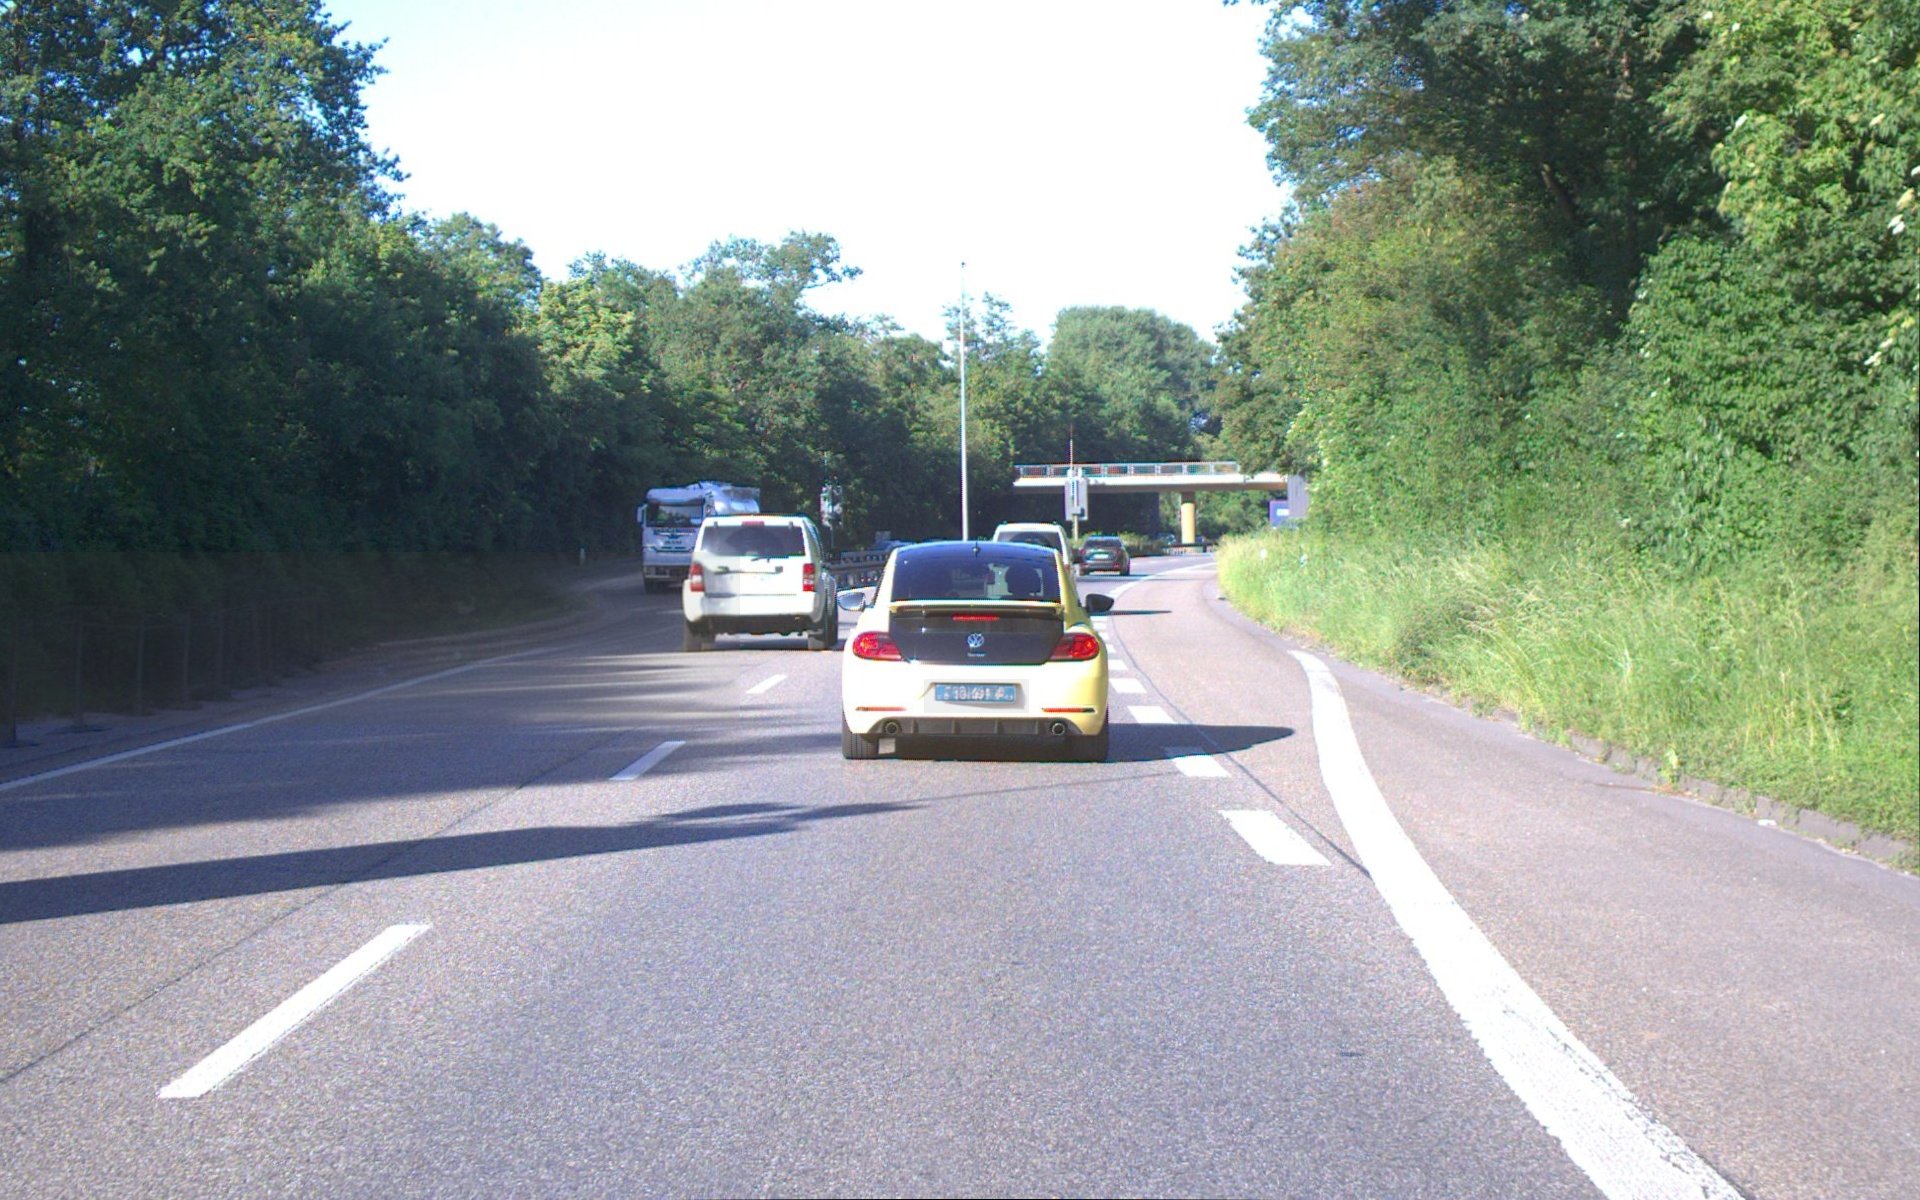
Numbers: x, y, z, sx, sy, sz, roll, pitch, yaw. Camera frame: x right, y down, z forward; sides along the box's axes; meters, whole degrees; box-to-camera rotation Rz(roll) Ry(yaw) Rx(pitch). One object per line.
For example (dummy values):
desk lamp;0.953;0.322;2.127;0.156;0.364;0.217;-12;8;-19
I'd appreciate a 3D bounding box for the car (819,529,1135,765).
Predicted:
car;0.042;0.265;23.820;1.939;1.503;3.423;0;1;-4

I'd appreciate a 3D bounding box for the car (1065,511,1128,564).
car;5.185;-2.403;131.047;2.263;1.869;5.076;-2;1;2

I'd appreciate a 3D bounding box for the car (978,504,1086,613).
car;1.433;-0.845;67.599;1.993;2.007;4.000;-2;1;2

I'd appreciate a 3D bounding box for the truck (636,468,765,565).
truck;-9.984;-3.266;133.595;2.889;3.508;11.950;-2;1;5

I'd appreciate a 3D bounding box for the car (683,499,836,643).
car;-2.618;-0.403;45.570;1.741;1.823;3.422;1;1;1
